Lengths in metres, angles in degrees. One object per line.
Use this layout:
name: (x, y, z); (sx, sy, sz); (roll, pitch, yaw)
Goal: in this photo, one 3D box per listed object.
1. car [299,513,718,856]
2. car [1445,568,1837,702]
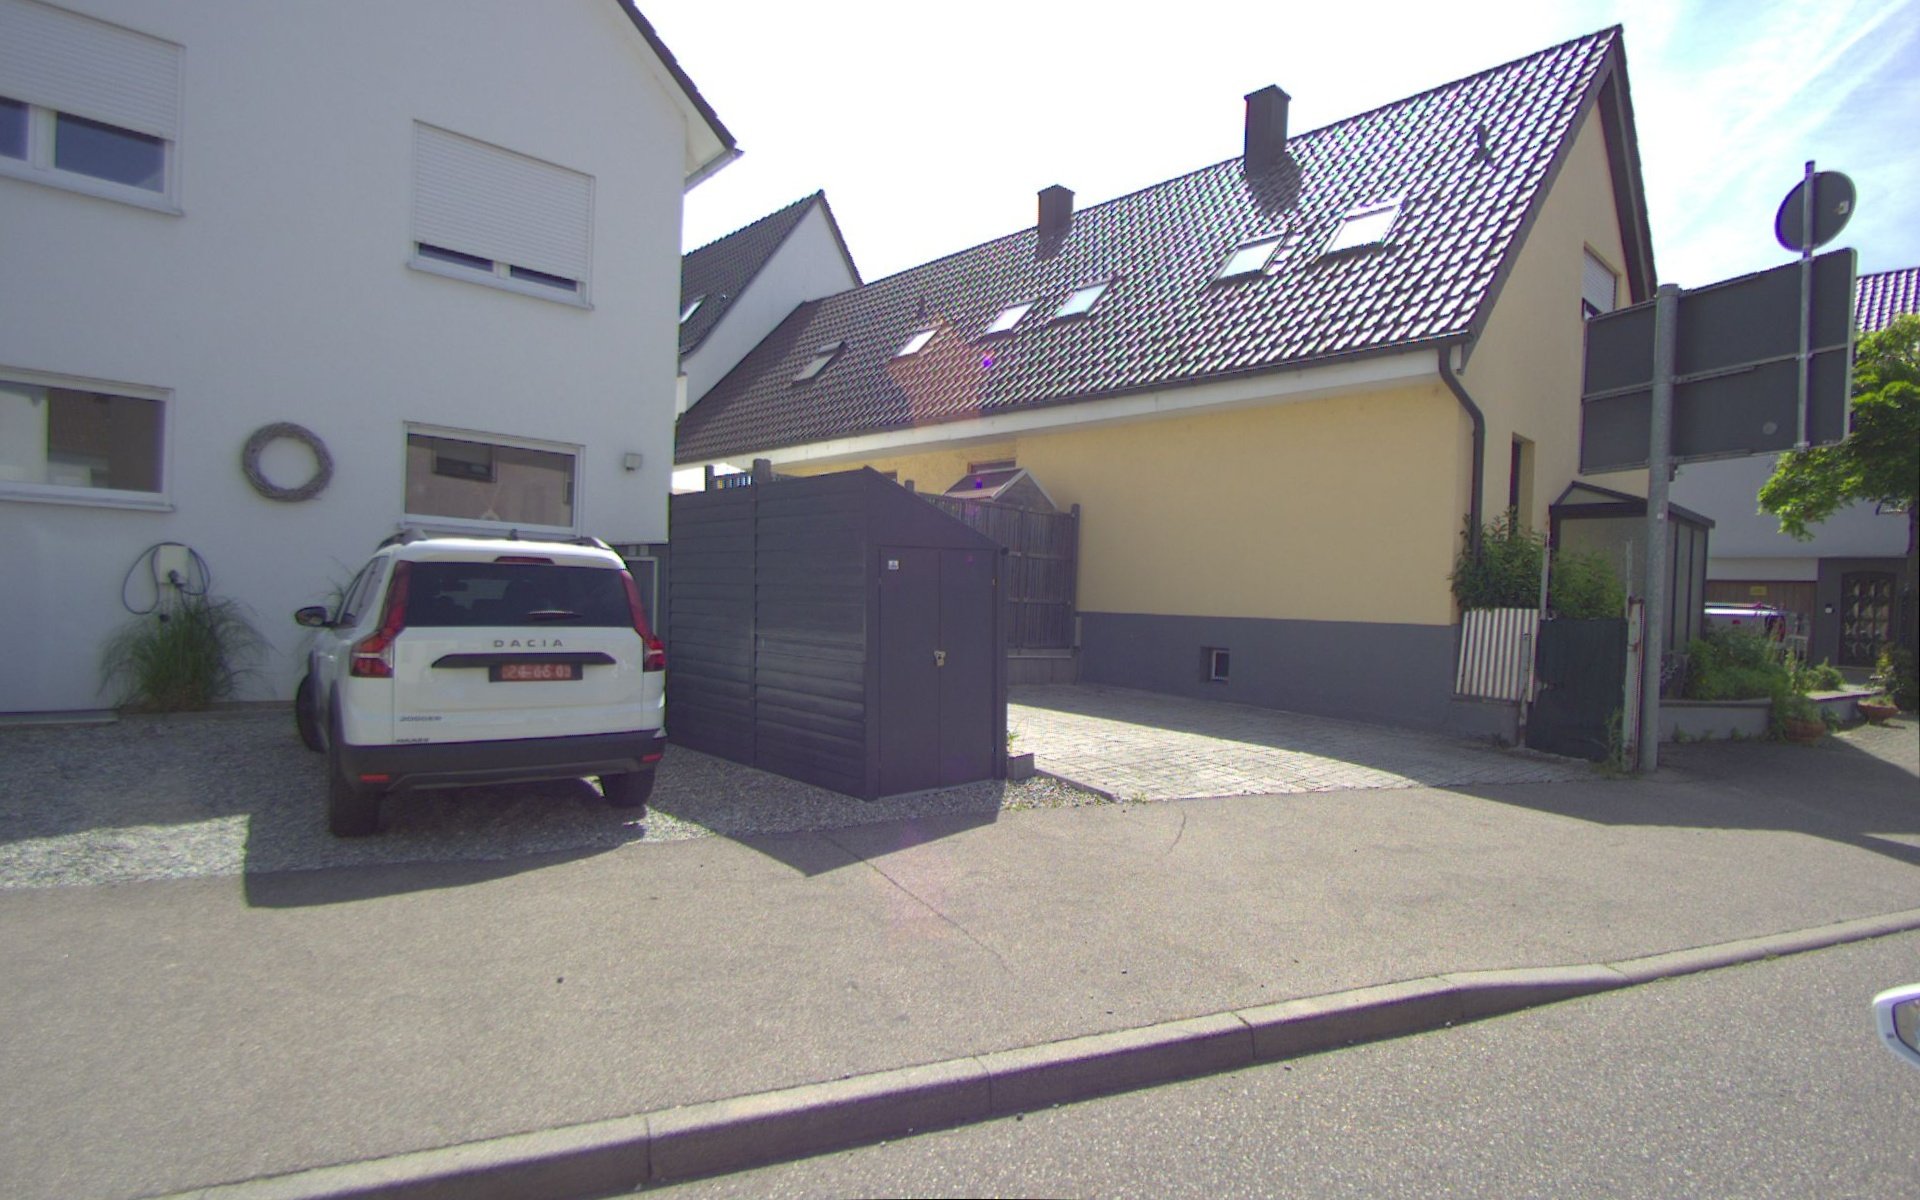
car: (-3.492, 0.377, 7.184); (1.980, 1.644, 4.373); (2, 0, -34)
car: (11.300, 0.468, 17.074); (2.155, 1.922, 5.069); (1, 1, -36)
